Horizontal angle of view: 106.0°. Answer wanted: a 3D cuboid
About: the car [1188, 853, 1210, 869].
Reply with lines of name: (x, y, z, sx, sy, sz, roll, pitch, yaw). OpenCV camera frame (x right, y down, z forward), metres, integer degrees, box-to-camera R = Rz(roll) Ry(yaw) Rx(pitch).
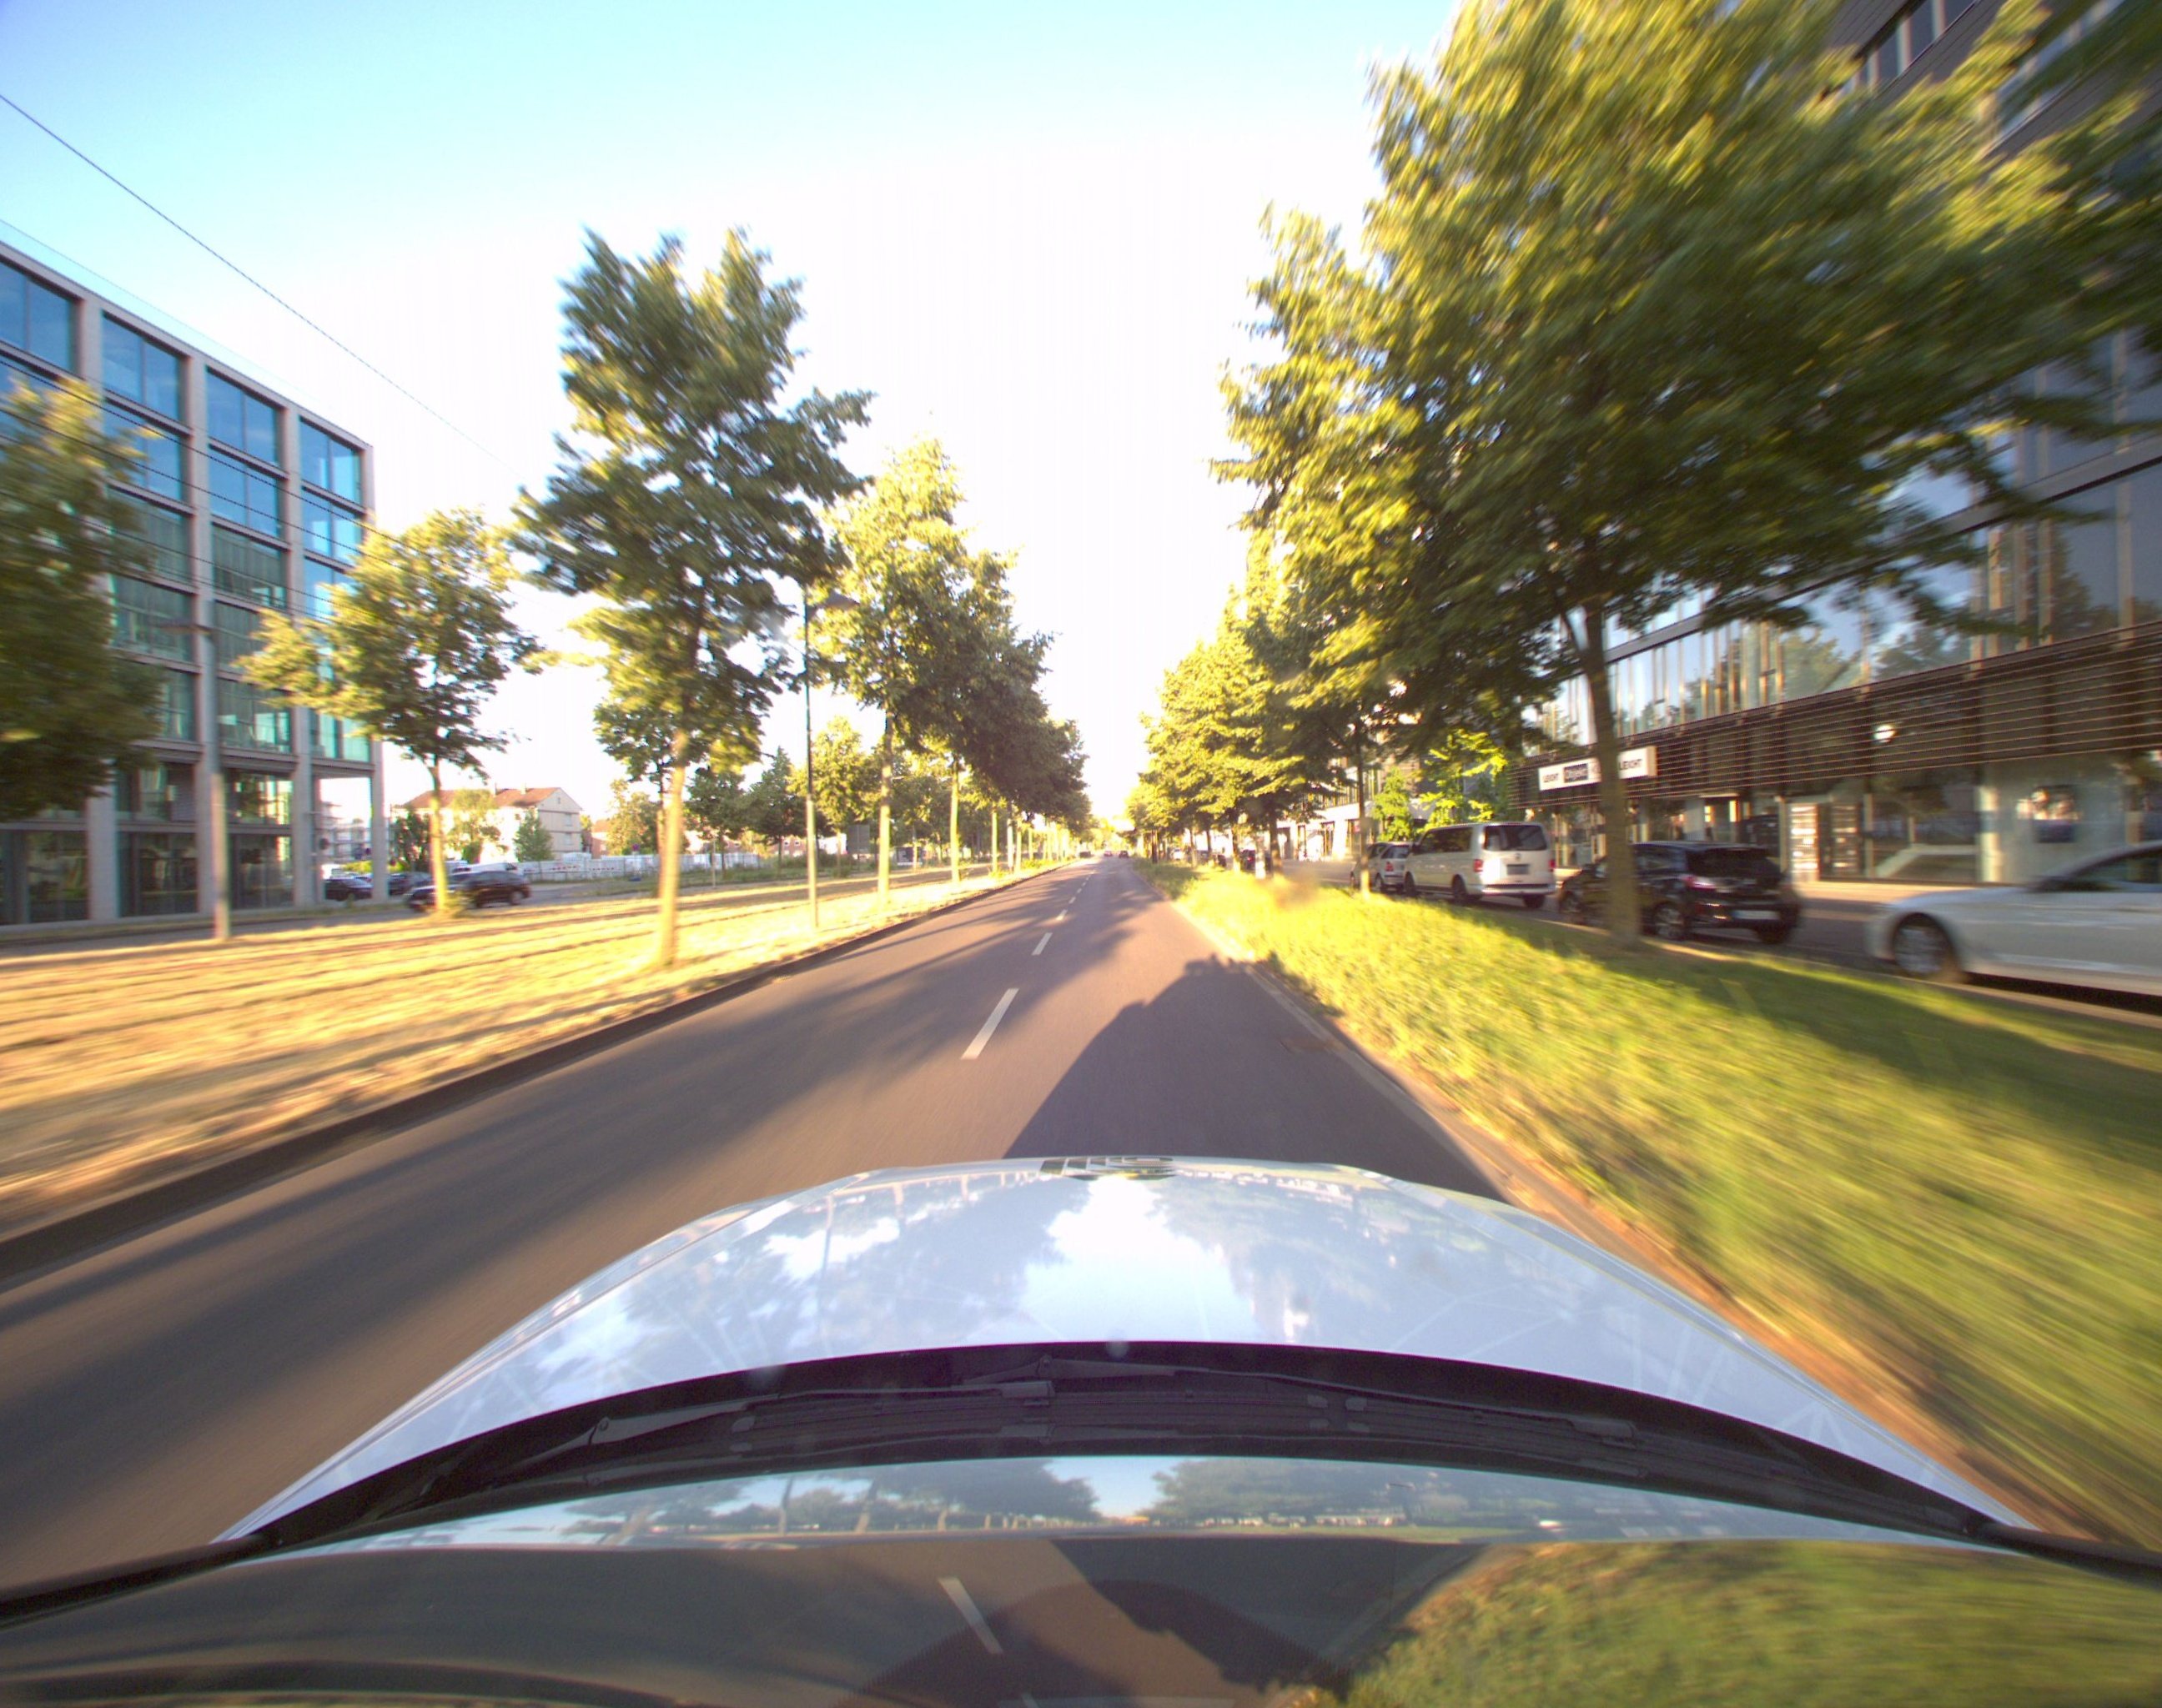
car: (11.480, 0.673, 79.428, 1.703, 1.515, 3.759, 1, 0, 1)

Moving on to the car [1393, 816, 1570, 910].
car: (9.539, 0.197, 19.949, 1.979, 1.989, 4.933, -1, 0, 1)

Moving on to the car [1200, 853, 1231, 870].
car: (11.466, 0.635, 69.887, 1.846, 1.367, 4.833, -2, 0, 0)

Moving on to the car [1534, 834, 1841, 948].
car: (9.276, 0.489, 13.003, 1.852, 1.496, 4.292, 0, 0, 2)

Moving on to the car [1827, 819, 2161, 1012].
car: (9.338, 0.469, 6.644, 1.911, 1.496, 5.040, -1, 0, 0)

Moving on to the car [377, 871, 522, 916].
car: (-23.907, 1.459, 31.076, 1.923, 1.422, 4.392, -2, 0, 3)

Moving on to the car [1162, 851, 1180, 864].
car: (12.958, 0.468, 117.191, 1.987, 1.852, 4.664, -2, 0, 0)

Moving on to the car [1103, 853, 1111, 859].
car: (6.601, 0.555, 208.994, 1.905, 1.486, 4.001, -1, 0, 1)

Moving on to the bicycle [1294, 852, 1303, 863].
bicycle: (21.406, 0.308, 80.165, 0.449, 1.027, 1.402, -2, 0, 28)

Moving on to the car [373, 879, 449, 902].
car: (-48.171, 2.595, 58.678, 1.986, 1.418, 4.002, -2, 0, 2)

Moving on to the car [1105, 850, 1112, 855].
car: (8.432, -0.332, 251.413, 1.905, 1.486, 4.001, -1, 0, 1)

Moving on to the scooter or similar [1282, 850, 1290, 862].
scooter or similar: (21.619, 0.224, 85.883, 0.470, 1.211, 1.229, -2, 0, 3)

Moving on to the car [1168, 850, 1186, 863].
car: (12.317, 0.342, 104.638, 1.985, 1.642, 4.881, -2, 0, 3)

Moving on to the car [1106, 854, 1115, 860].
car: (7.033, 0.745, 195.020, 1.905, 1.486, 4.001, -1, 0, 1)

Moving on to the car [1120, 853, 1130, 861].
car: (8.411, 0.599, 156.090, 1.905, 1.486, 4.001, -1, 0, 1)

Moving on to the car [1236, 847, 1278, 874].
car: (10.571, 0.368, 49.083, 1.774, 1.494, 4.002, 2, 0, 2)

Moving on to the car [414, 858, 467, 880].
car: (-64.106, 1.476, 81.620, 1.791, 1.982, 4.312, -2, 0, 1)

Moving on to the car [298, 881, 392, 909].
car: (-43.883, 2.420, 48.607, 3.968, 1.446, 1.897, -2, 0, 4)

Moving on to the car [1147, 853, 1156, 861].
car: (14.110, 0.559, 162.787, 1.569, 1.472, 3.884, -1, 0, 2)

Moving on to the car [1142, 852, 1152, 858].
car: (14.960, 0.246, 185.024, 1.751, 1.466, 4.157, -1, 0, -1)

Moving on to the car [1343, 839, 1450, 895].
car: (9.735, 0.374, 25.480, 1.832, 1.570, 4.061, -1, 0, 1)

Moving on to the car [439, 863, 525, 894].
car: (-42.660, 1.724, 58.172, 2.198, 2.013, 5.086, -2, 0, 2)

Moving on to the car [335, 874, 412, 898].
car: (-51.283, 2.280, 59.154, 1.986, 1.510, 4.002, -2, 0, 2)
